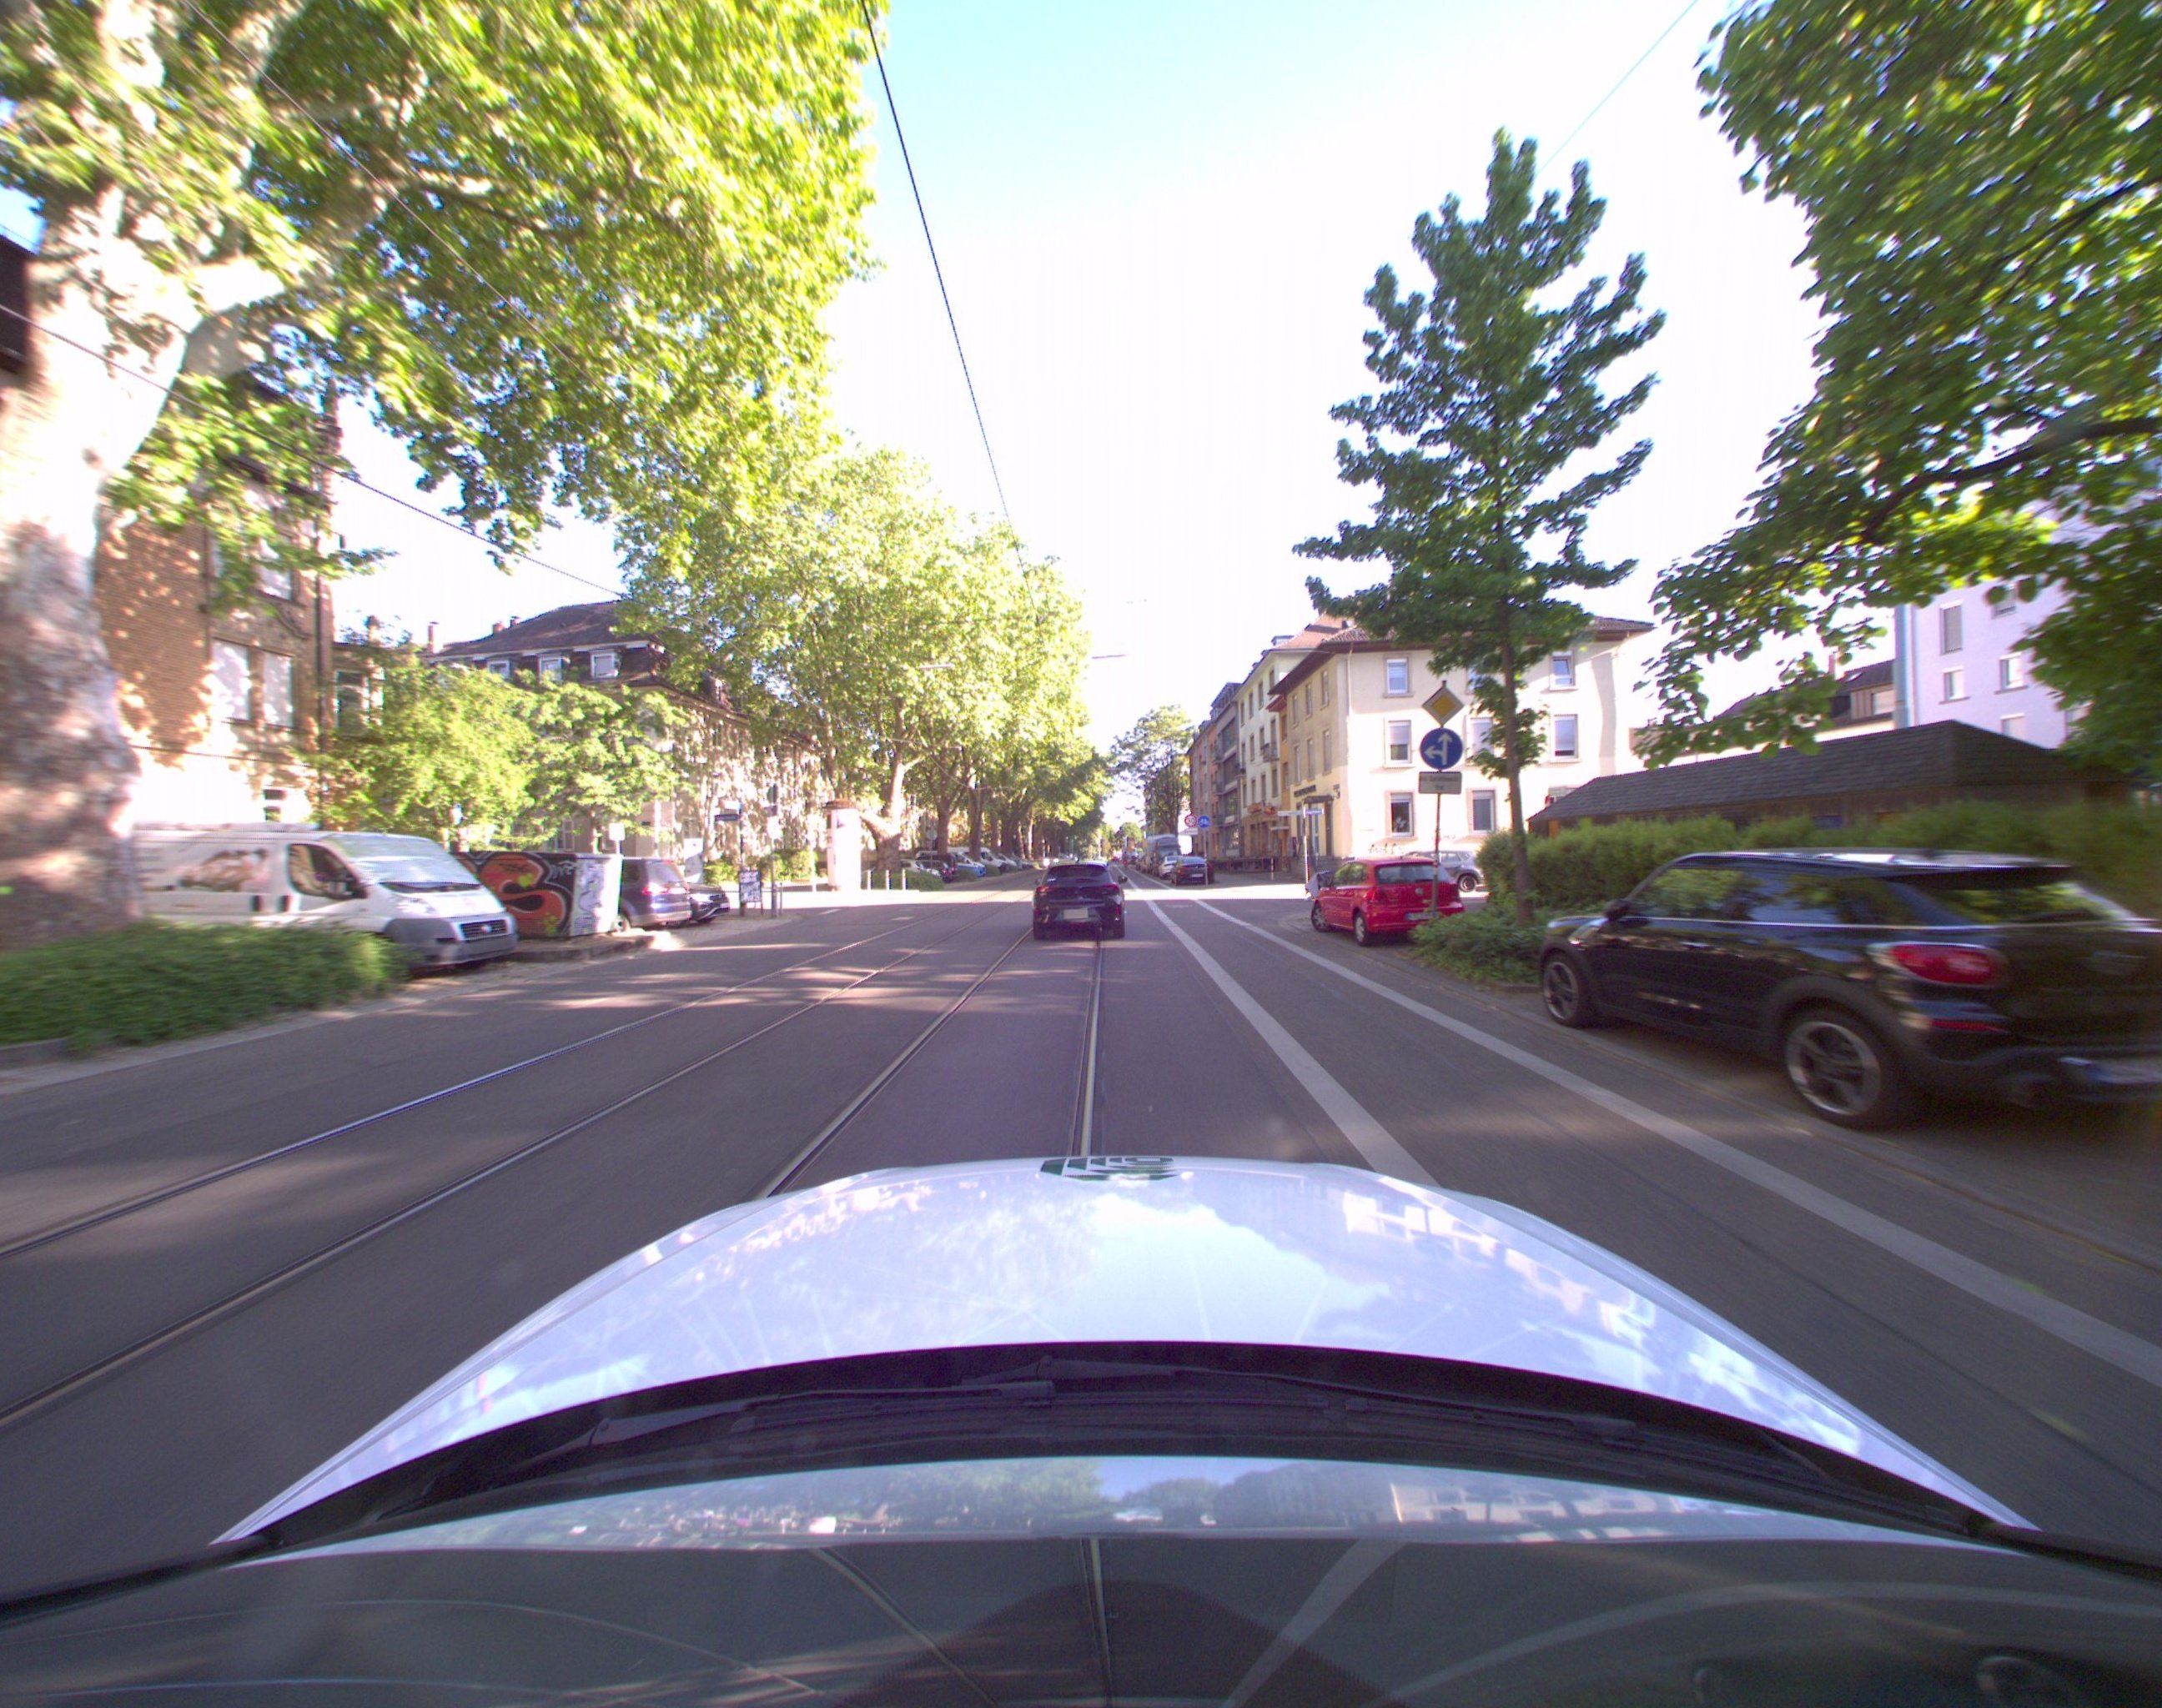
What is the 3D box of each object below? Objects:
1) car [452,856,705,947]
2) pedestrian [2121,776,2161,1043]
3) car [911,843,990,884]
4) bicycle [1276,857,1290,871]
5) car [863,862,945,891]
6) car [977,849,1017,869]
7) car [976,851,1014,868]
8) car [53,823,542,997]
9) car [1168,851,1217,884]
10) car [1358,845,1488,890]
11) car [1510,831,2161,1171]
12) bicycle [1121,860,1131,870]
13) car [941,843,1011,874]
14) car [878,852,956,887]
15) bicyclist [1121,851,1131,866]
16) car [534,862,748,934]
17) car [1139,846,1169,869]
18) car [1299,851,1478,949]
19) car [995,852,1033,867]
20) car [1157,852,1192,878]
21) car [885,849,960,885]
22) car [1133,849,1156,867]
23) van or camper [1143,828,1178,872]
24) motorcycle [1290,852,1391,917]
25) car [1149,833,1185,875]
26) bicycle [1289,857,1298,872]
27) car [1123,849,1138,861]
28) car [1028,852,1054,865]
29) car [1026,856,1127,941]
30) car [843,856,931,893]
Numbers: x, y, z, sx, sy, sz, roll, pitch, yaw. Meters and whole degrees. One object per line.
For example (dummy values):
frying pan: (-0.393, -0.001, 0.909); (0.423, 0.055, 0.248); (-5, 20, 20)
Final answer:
car: (-10.897, 0.984, 17.914); (4.287, 1.801, 1.925); (-1, 0, -1)
pedestrian: (7.410, 0.334, 5.164); (0.834, 1.711, 0.828); (-4, 1, -27)
car: (-9.223, 0.659, 57.828); (5.017, 2.374, 2.082); (-5, 0, 2)
bicycle: (11.454, 0.565, 46.277); (0.408, 0.789, 1.792); (-1, 0, 2)
car: (-10.109, 1.266, 46.780); (4.294, 1.290, 1.707); (-5, 0, -6)
car: (-8.670, 0.515, 83.744); (3.983, 2.013, 1.995); (-1, 0, -7)
car: (-9.710, 0.575, 91.489); (4.173, 1.794, 1.995); (-1, 0, -7)
car: (-11.170, 0.740, 11.961); (5.019, 2.259, 2.084); (-1, 0, -2)
car: (5.506, 0.618, 40.811); (1.877, 1.434, 4.532); (-4, 0, 2)
car: (12.922, 0.489, 30.965); (4.167, 1.598, 1.893); (-1, 0, 5)
car: (5.031, 0.687, 5.877); (1.706, 1.514, 4.037); (-4, 0, 1)
bicycle: (4.595, 1.149, 83.243); (0.964, 0.999, 2.583); (-1, 0, 0)
car: (-9.050, 0.408, 70.548); (5.611, 2.593, 2.199); (-1, 0, 5)
car: (-9.793, 0.916, 48.808); (4.294, 1.674, 1.779); (-5, 0, -6)
bicyclist: (4.569, 0.463, 83.220); (0.955, 1.499, 1.094); (-1, 0, 0)
car: (-10.969, 1.069, 20.536); (4.287, 1.607, 1.925); (-1, 0, -1)
car: (6.413, 0.282, 71.874); (2.246, 1.840, 5.533); (-3, 0, 2)
car: (5.297, 0.710, 14.616); (1.697, 1.423, 3.979); (-4, 0, 1)
car: (-7.971, 0.683, 96.862); (4.351, 1.665, 1.995); (-1, 0, -7)
car: (5.779, 0.698, 50.872); (1.797, 1.434, 4.001); (-3, -1, 2)
car: (-9.888, 0.806, 51.141); (4.294, 1.840, 1.779); (-5, 0, -6)
car: (7.256, 0.463, 93.214); (2.246, 1.840, 5.533); (-3, 0, 2)
van or camper: (6.256, -0.328, 64.675); (2.246, 3.216, 5.533); (-3, 0, 2)
motorcycle: (5.981, 0.691, 18.808); (2.073, 1.358, 0.928); (-4, -1, 18)
car: (6.075, -0.046, 58.109); (2.077, 2.772, 4.699); (-3, 0, 2)
bicycle: (11.757, 0.561, 45.089); (0.471, 0.789, 1.798); (-1, 0, 13)
car: (8.133, 0.236, 134.929); (2.246, 1.840, 5.533); (-3, 0, 2)
car: (-6.542, 0.737, 133.036); (3.967, 2.013, 2.003); (-1, 0, 5)
car: (-0.014, 0.787, 16.278); (1.756, 1.460, 3.952); (-1, 0, 2)
car: (-10.495, 1.082, 44.240); (4.294, 1.593, 1.779); (-5, 0, -6)
